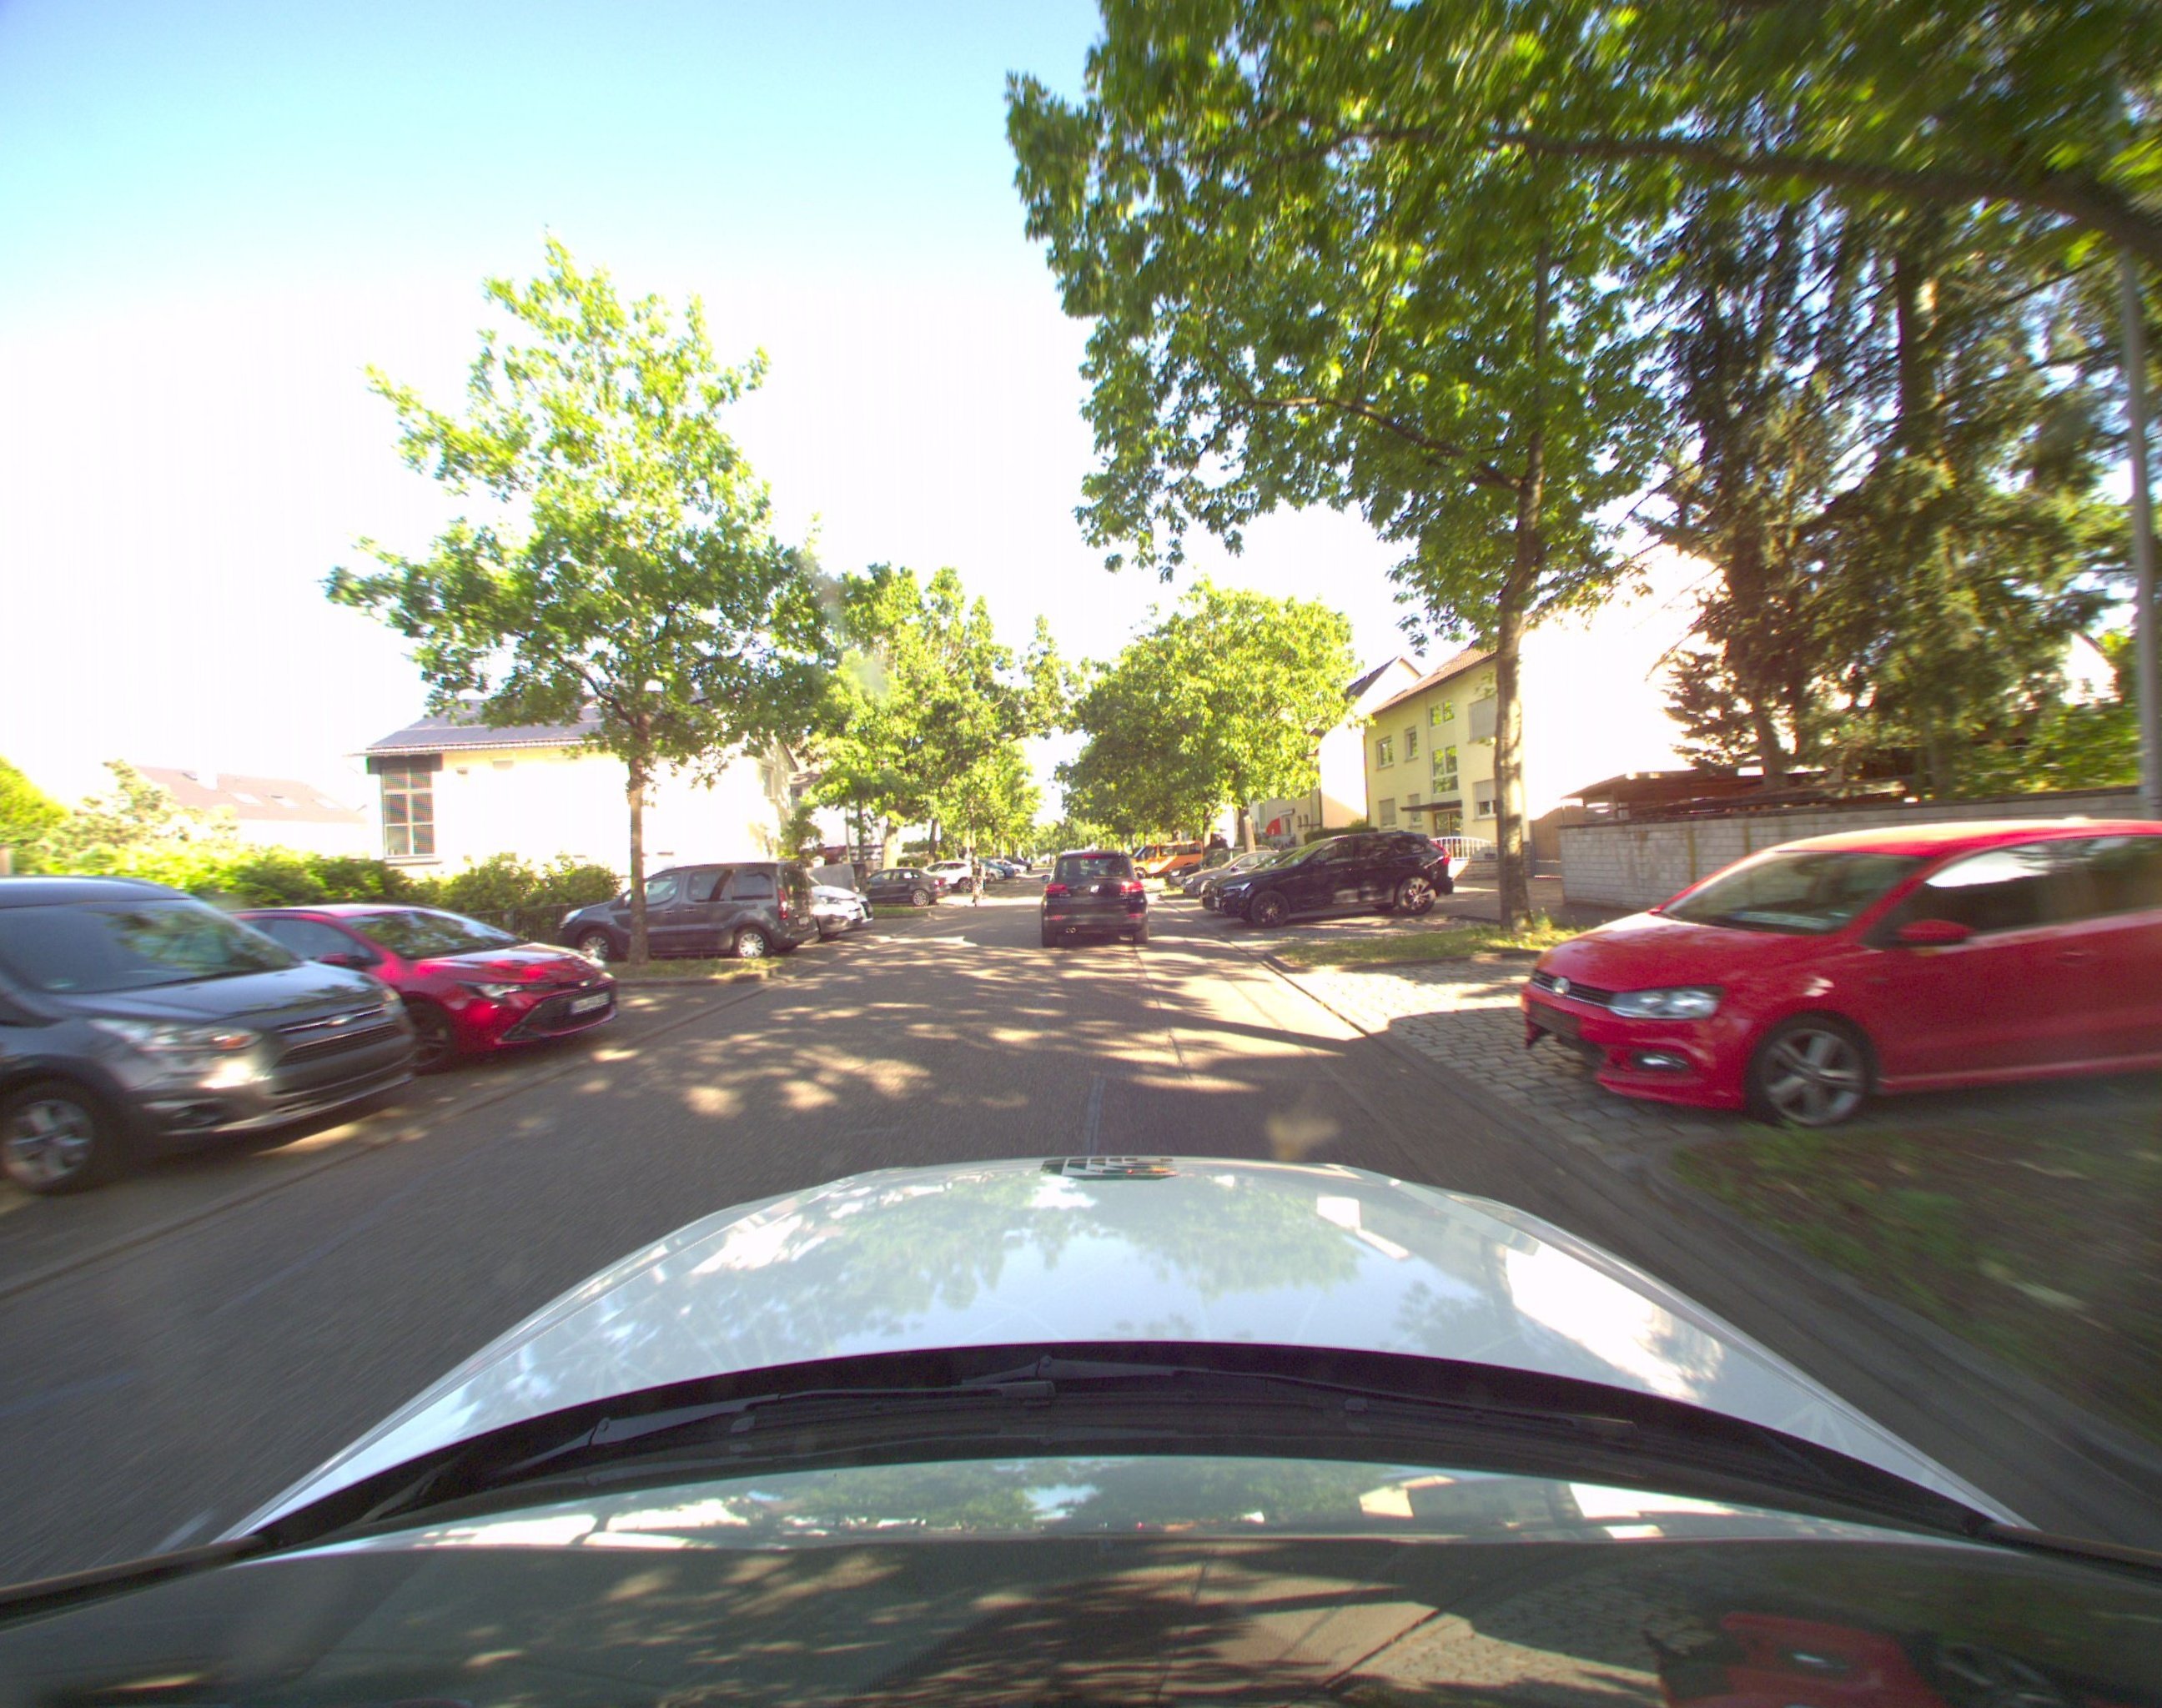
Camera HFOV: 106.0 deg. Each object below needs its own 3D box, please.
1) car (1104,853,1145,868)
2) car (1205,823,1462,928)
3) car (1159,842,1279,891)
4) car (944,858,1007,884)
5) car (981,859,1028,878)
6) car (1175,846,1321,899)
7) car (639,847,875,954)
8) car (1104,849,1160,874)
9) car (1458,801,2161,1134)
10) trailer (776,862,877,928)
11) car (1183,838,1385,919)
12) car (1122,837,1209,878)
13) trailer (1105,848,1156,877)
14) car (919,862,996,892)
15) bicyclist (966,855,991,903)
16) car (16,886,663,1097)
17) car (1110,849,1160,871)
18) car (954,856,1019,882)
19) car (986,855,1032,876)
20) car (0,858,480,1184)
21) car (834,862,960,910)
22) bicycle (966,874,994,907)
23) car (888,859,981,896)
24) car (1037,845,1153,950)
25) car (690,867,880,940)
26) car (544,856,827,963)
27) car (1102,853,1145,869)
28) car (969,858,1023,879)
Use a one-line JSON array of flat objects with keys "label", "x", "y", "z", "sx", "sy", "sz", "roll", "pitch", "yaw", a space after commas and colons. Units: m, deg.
[{"label": "car", "x": 4.691, "y": 0.698, "z": 88.881, "sx": 4.265, "sy": 1.414, "sz": 1.795, "roll": -3, "pitch": 0, "yaw": -2}, {"label": "car", "x": 4.974, "y": 0.413, "z": 16.513, "sx": 4.559, "sy": 1.646, "sz": 1.838, "roll": -4, "pitch": 0, "yaw": -1}, {"label": "car", "x": 5.360, "y": 0.481, "z": 32.088, "sx": 4.326, "sy": 1.560, "sz": 1.866, "roll": -4, "pitch": 0, "yaw": -2}, {"label": "car", "x": -7.201, "y": 1.165, "z": 55.809, "sx": 3.975, "sy": 1.595, "sz": 1.856, "roll": -3, "pitch": -1, "yaw": -1}, {"label": "car", "x": -7.191, "y": 1.358, "z": 76.690, "sx": 4.264, "sy": 1.478, "sz": 1.767, "roll": -3, "pitch": 0, "yaw": -2}, {"label": "car", "x": 5.410, "y": 0.588, "z": 26.800, "sx": 4.411, "sy": 1.331, "sz": 1.691, "roll": -5, "pitch": 0, "yaw": 2}, {"label": "car", "x": -6.847, "y": 0.966, "z": 17.612, "sx": 4.226, "sy": 1.944, "sz": 1.998, "roll": -3, "pitch": -1, "yaw": -3}, {"label": "car", "x": 3.771, "y": 0.561, "z": 60.552, "sx": 3.973, "sy": 1.623, "sz": 1.757, "roll": -3, "pitch": 0, "yaw": 0}, {"label": "car", "x": 4.640, "y": 0.562, "z": 4.996, "sx": 3.764, "sy": 1.484, "sz": 1.756, "roll": -4, "pitch": -2, "yaw": 1}, {"label": "trailer", "x": -7.094, "y": 1.134, "z": 22.848, "sx": 2.226, "sy": 1.673, "sz": 1.476, "roll": -3, "pitch": 0, "yaw": 4}, {"label": "car", "x": 4.748, "y": 0.553, "z": 19.499, "sx": 4.307, "sy": 1.529, "sz": 1.840, "roll": -4, "pitch": 0, "yaw": -1}, {"label": "car", "x": 4.949, "y": 0.219, "z": 48.035, "sx": 4.804, "sy": 2.083, "sz": 2.085, "roll": -3, "pitch": 0, "yaw": -1}, {"label": "trailer", "x": 3.181, "y": 0.563, "z": 52.670, "sx": 2.943, "sy": 1.664, "sz": 1.611, "roll": -3, "pitch": 0, "yaw": -7}, {"label": "car", "x": -6.910, "y": 1.275, "z": 45.967, "sx": 4.024, "sy": 1.423, "sz": 1.808, "roll": -3, "pitch": 0, "yaw": -2}, {"label": "bicyclist", "x": -3.657, "y": 0.881, "z": 29.192, "sx": 0.594, "sy": 1.674, "sz": 0.975, "roll": -5, "pitch": -1, "yaw": 1}, {"label": "car", "x": -6.761, "y": 1.202, "z": 7.824, "sx": 4.461, "sy": 1.500, "sz": 1.837, "roll": -3, "pitch": 0, "yaw": 0}, {"label": "car", "x": 4.412, "y": 0.487, "z": 66.870, "sx": 3.871, "sy": 1.516, "sz": 1.660, "roll": -3, "pitch": 0, "yaw": -1}, {"label": "car", "x": -6.925, "y": 1.117, "z": 60.246, "sx": 4.511, "sy": 1.631, "sz": 1.936, "roll": -3, "pitch": -1, "yaw": -1}, {"label": "car", "x": -7.675, "y": 1.210, "z": 87.377, "sx": 4.769, "sy": 1.917, "sz": 2.016, "roll": -3, "pitch": 0, "yaw": -4}, {"label": "car", "x": -7.020, "y": 0.970, "z": 5.403, "sx": 4.659, "sy": 1.768, "sz": 1.795, "roll": -1, "pitch": 0, "yaw": -1}, {"label": "car", "x": -6.752, "y": 1.165, "z": 30.188, "sx": 4.198, "sy": 1.471, "sz": 1.690, "roll": -3, "pitch": 0, "yaw": -1}, {"label": "bicycle", "x": -3.611, "y": 1.287, "z": 29.225, "sx": 0.594, "sy": 1.058, "sz": 1.986, "roll": -5, "pitch": 0, "yaw": 1}, {"label": "car", "x": -7.260, "y": 1.153, "z": 40.573, "sx": 4.173, "sy": 1.567, "sz": 1.792, "roll": -3, "pitch": 0, "yaw": 1}, {"label": "car", "x": 0.278, "y": 0.718, "z": 15.218, "sx": 1.831, "sy": 1.636, "sz": 3.959, "roll": -2, "pitch": 0, "yaw": 1}, {"label": "car", "x": -7.219, "y": 1.179, "z": 20.143, "sx": 3.975, "sy": 1.516, "sz": 1.690, "roll": -3, "pitch": 0, "yaw": -1}, {"label": "car", "x": -7.131, "y": 0.957, "z": 15.076, "sx": 4.228, "sy": 1.770, "sz": 1.965, "roll": -1, "pitch": 0, "yaw": -3}, {"label": "car", "x": 4.422, "y": 0.716, "z": 85.878, "sx": 4.335, "sy": 1.363, "sz": 1.872, "roll": -4, "pitch": -1, "yaw": -2}, {"label": "car", "x": -6.961, "y": 1.199, "z": 66.644, "sx": 4.170, "sy": 1.492, "sz": 1.646, "roll": -3, "pitch": -1, "yaw": -1}]
